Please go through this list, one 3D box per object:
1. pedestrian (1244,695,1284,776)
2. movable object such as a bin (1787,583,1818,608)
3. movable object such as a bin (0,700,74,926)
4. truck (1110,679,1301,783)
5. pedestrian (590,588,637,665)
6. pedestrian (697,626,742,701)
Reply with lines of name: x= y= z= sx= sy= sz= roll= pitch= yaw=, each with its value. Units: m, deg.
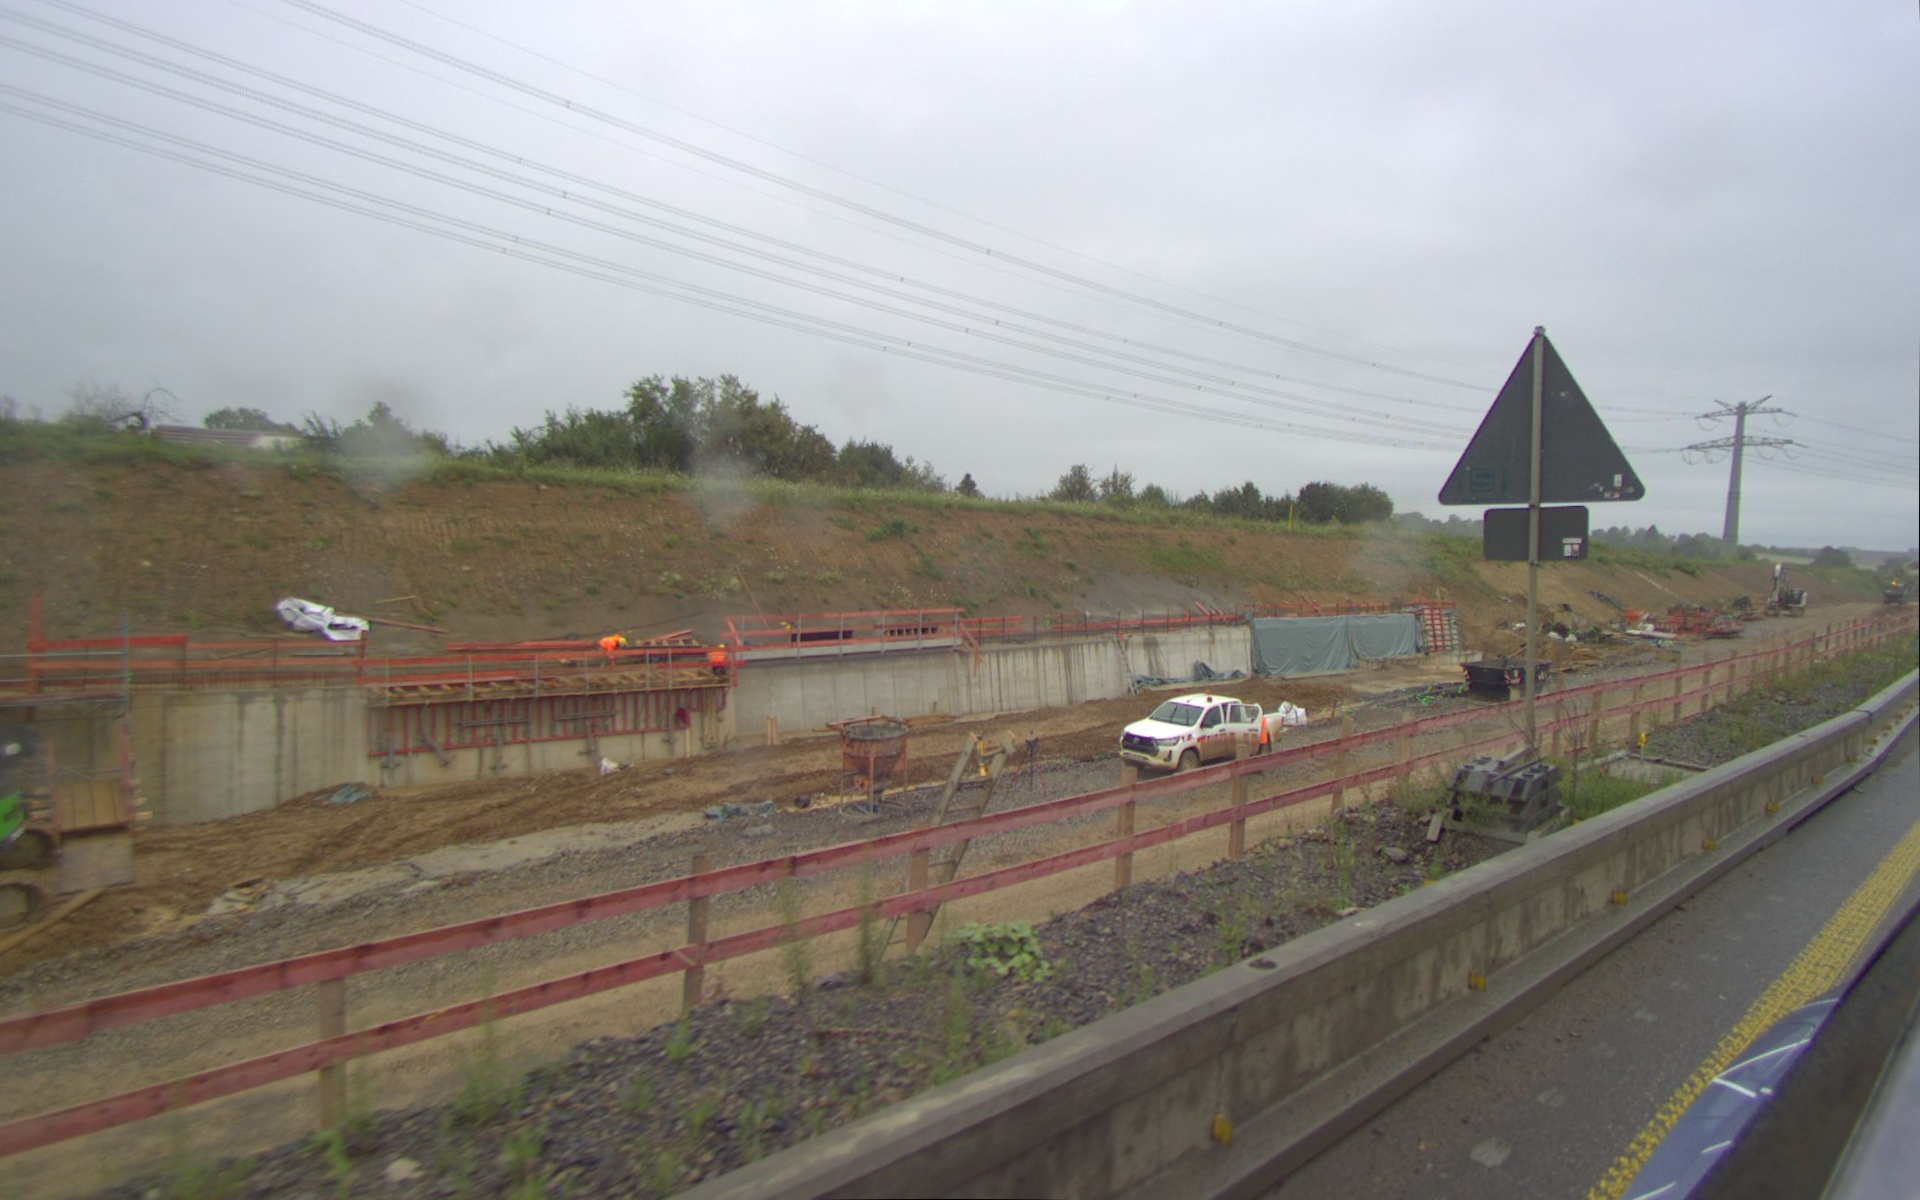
pedestrian: x=7.667 y=3.397 z=25.473 sx=0.802 sy=1.821 sz=0.929 roll=2 pitch=3 yaw=25
movable object such as a bin: x=94.299 y=-0.551 z=113.284 sx=3.933 sy=2.753 sz=2.248 roll=-1 pitch=1 yaw=-43
movable object such as a bin: x=-16.649 y=3.489 z=15.149 sx=4.774 sy=2.836 sz=3.800 roll=-7 pitch=6 yaw=-40
truck: x=6.467 y=3.271 z=26.232 sx=5.684 sy=1.894 sz=1.766 roll=-1 pitch=3 yaw=-40
pedestrian: x=-10.611 y=0.815 z=30.995 sx=0.989 sy=2.275 sz=0.915 roll=-1 pitch=-3 yaw=-43
pedestrian: x=-7.543 y=1.973 z=31.700 sx=0.987 sy=2.260 sz=0.917 roll=-2 pitch=-3 yaw=-36
